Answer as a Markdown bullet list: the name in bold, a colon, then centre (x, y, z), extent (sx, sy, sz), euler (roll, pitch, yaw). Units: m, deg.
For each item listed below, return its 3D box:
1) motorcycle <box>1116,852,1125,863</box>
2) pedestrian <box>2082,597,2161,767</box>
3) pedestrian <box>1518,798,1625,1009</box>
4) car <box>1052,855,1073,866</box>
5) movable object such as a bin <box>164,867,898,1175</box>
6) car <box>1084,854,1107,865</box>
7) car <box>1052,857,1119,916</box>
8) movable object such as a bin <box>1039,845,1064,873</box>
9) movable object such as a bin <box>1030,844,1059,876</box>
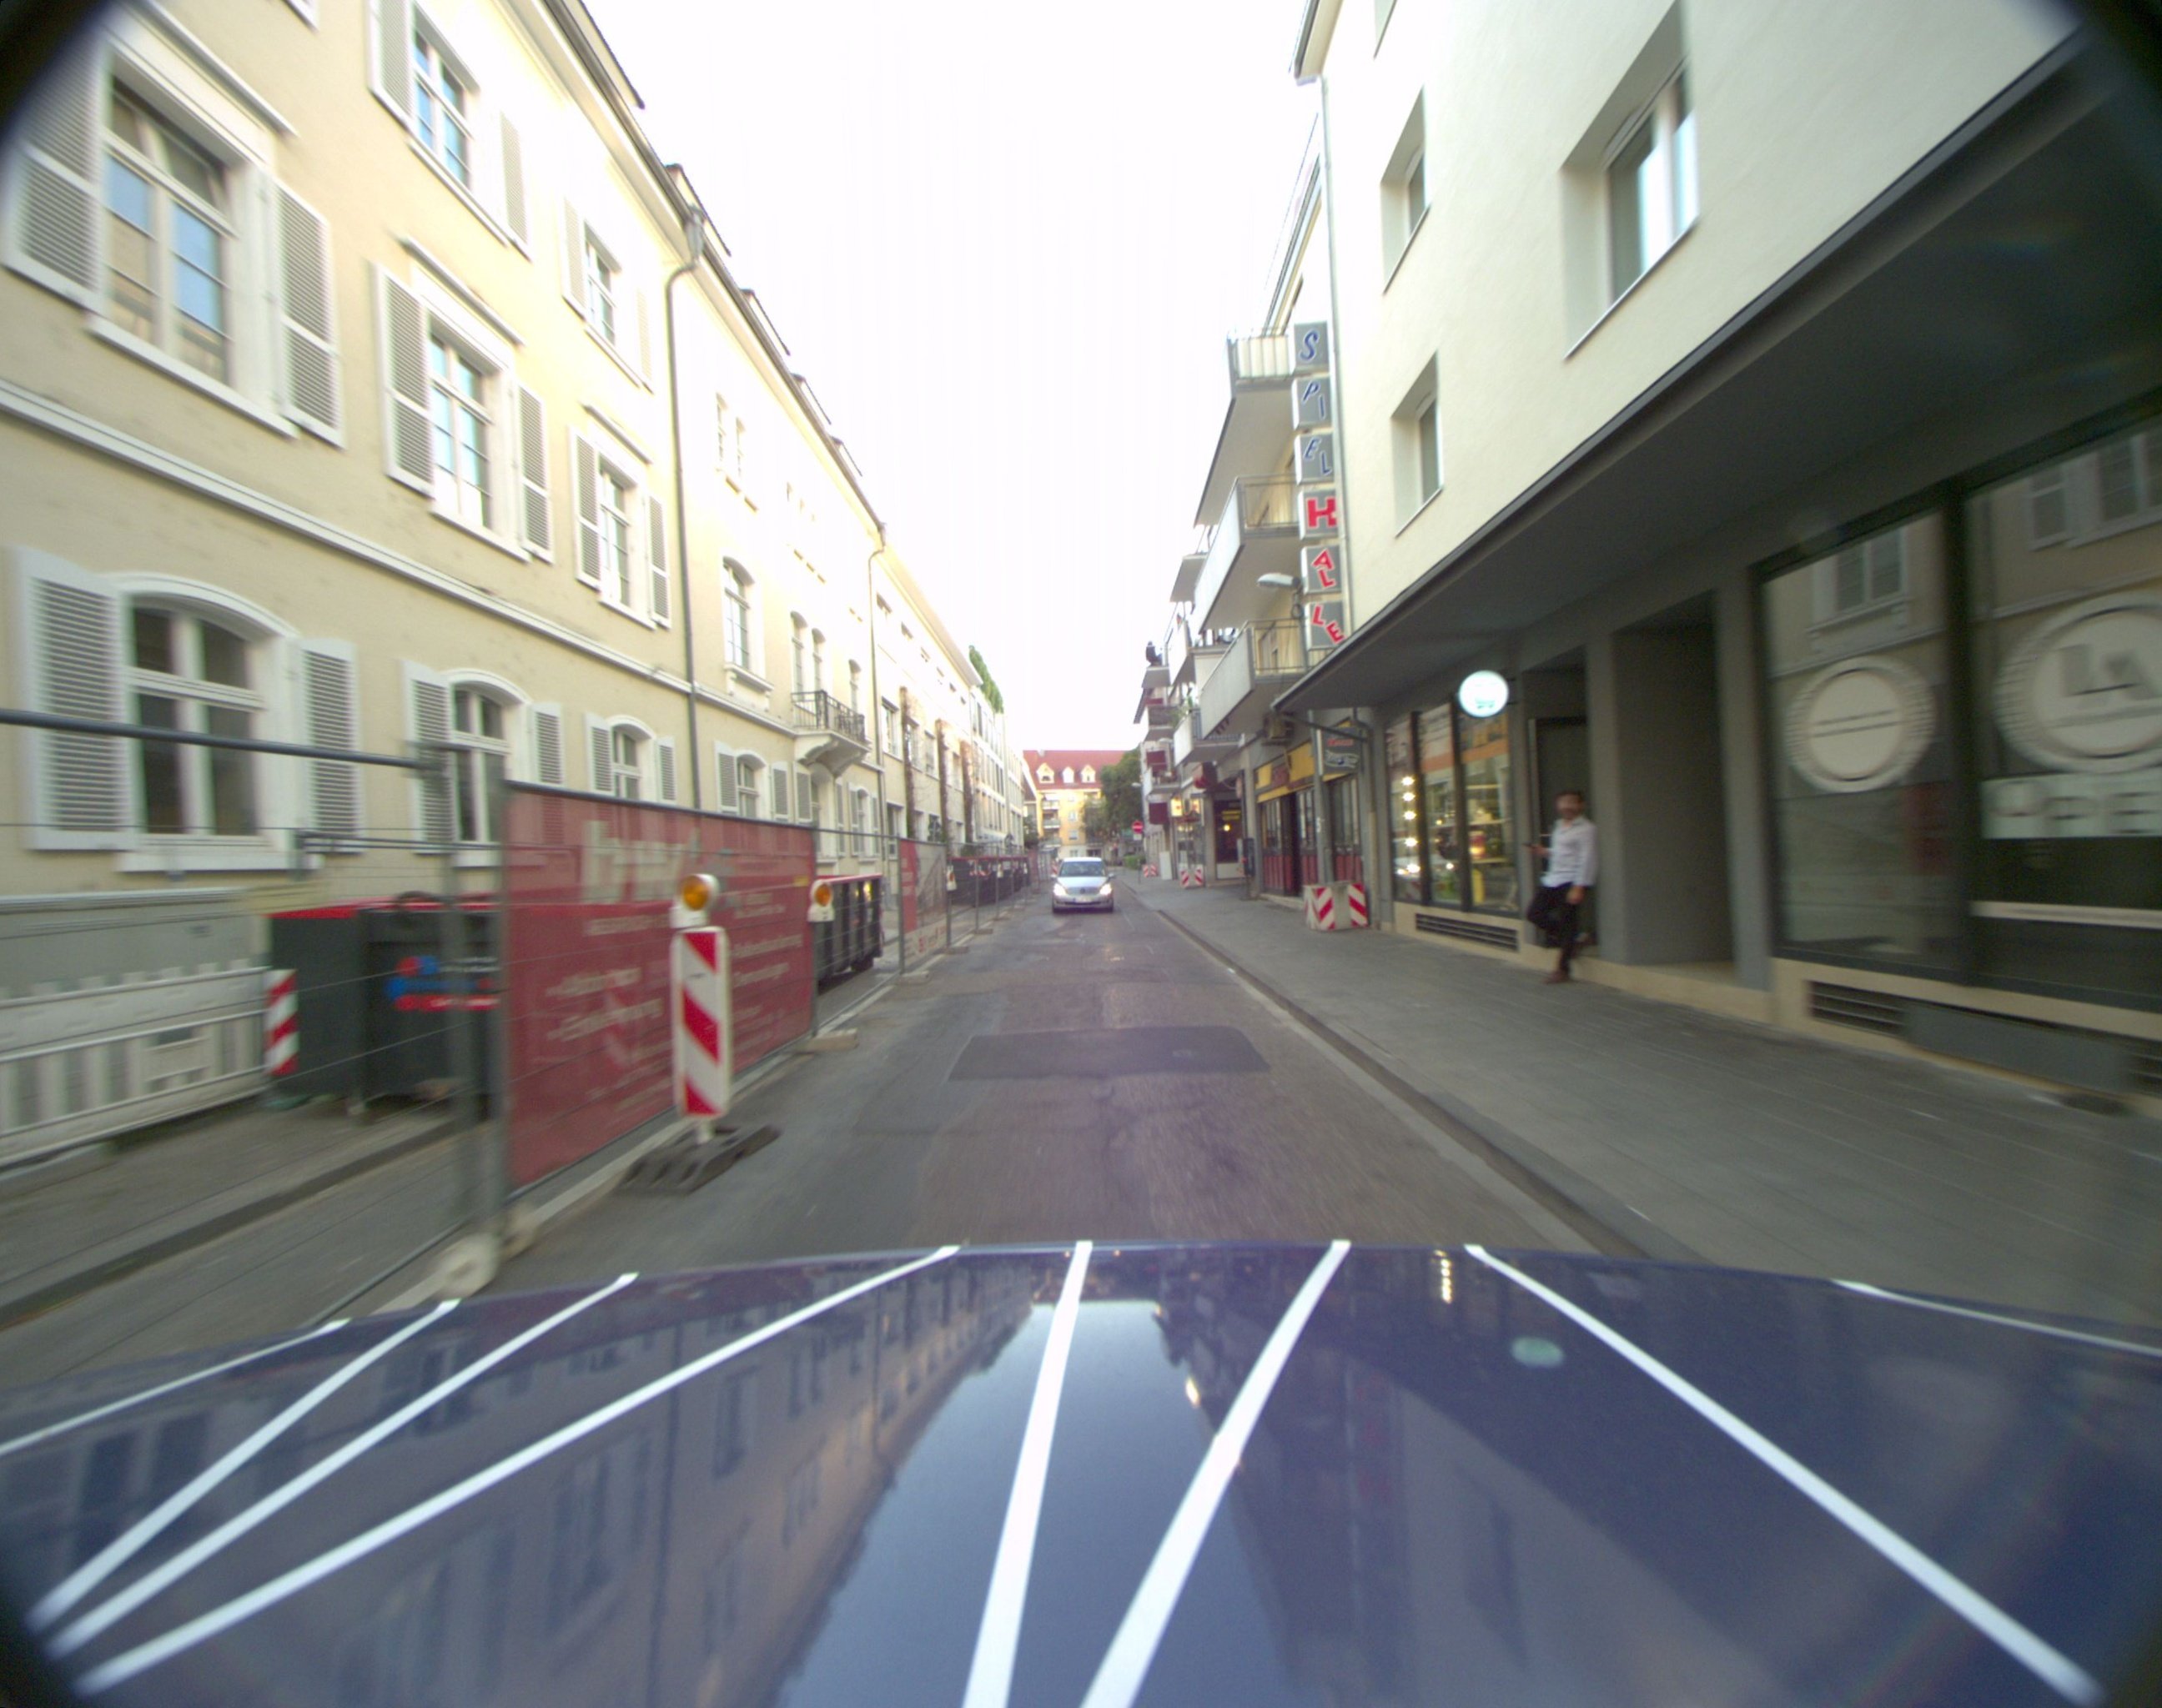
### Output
- **motorcycle**: centre (5.231, 0.497, 100.664), extent (0.858, 1.345, 1.960), euler (-2, 0, 10)
- **pedestrian**: centre (14.852, -2.305, 9.425), extent (1.994, 2.002, 4.008), euler (-1, 1, 38)
- **pedestrian**: centre (4.451, 0.431, 6.919), extent (0.532, 1.824, 0.562), euler (-2, 0, -5)
- **car**: centre (-2.706, 0.884, 109.754), extent (1.749, 1.395, 4.238), euler (-2, 2, -22)
- **movable object such as a bin**: centre (-4.367, 1.119, 8.574), extent (2.743, 1.629, 7.551), euler (-3, 0, 0)
- **car**: centre (2.073, 0.738, 111.416), extent (1.829, 1.460, 4.320), euler (-2, 2, -22)
- **car**: centre (0.152, 0.932, 23.310), extent (1.804, 1.607, 4.273), euler (-2, -1, 1)
- **movable object such as a bin**: centre (-2.969, 0.453, 78.014), extent (2.021, 2.608, 5.750), euler (-5, 0, 1)
- **movable object such as a bin**: centre (-3.188, 0.502, 68.119), extent (2.021, 2.608, 5.751), euler (-5, 0, 1)
